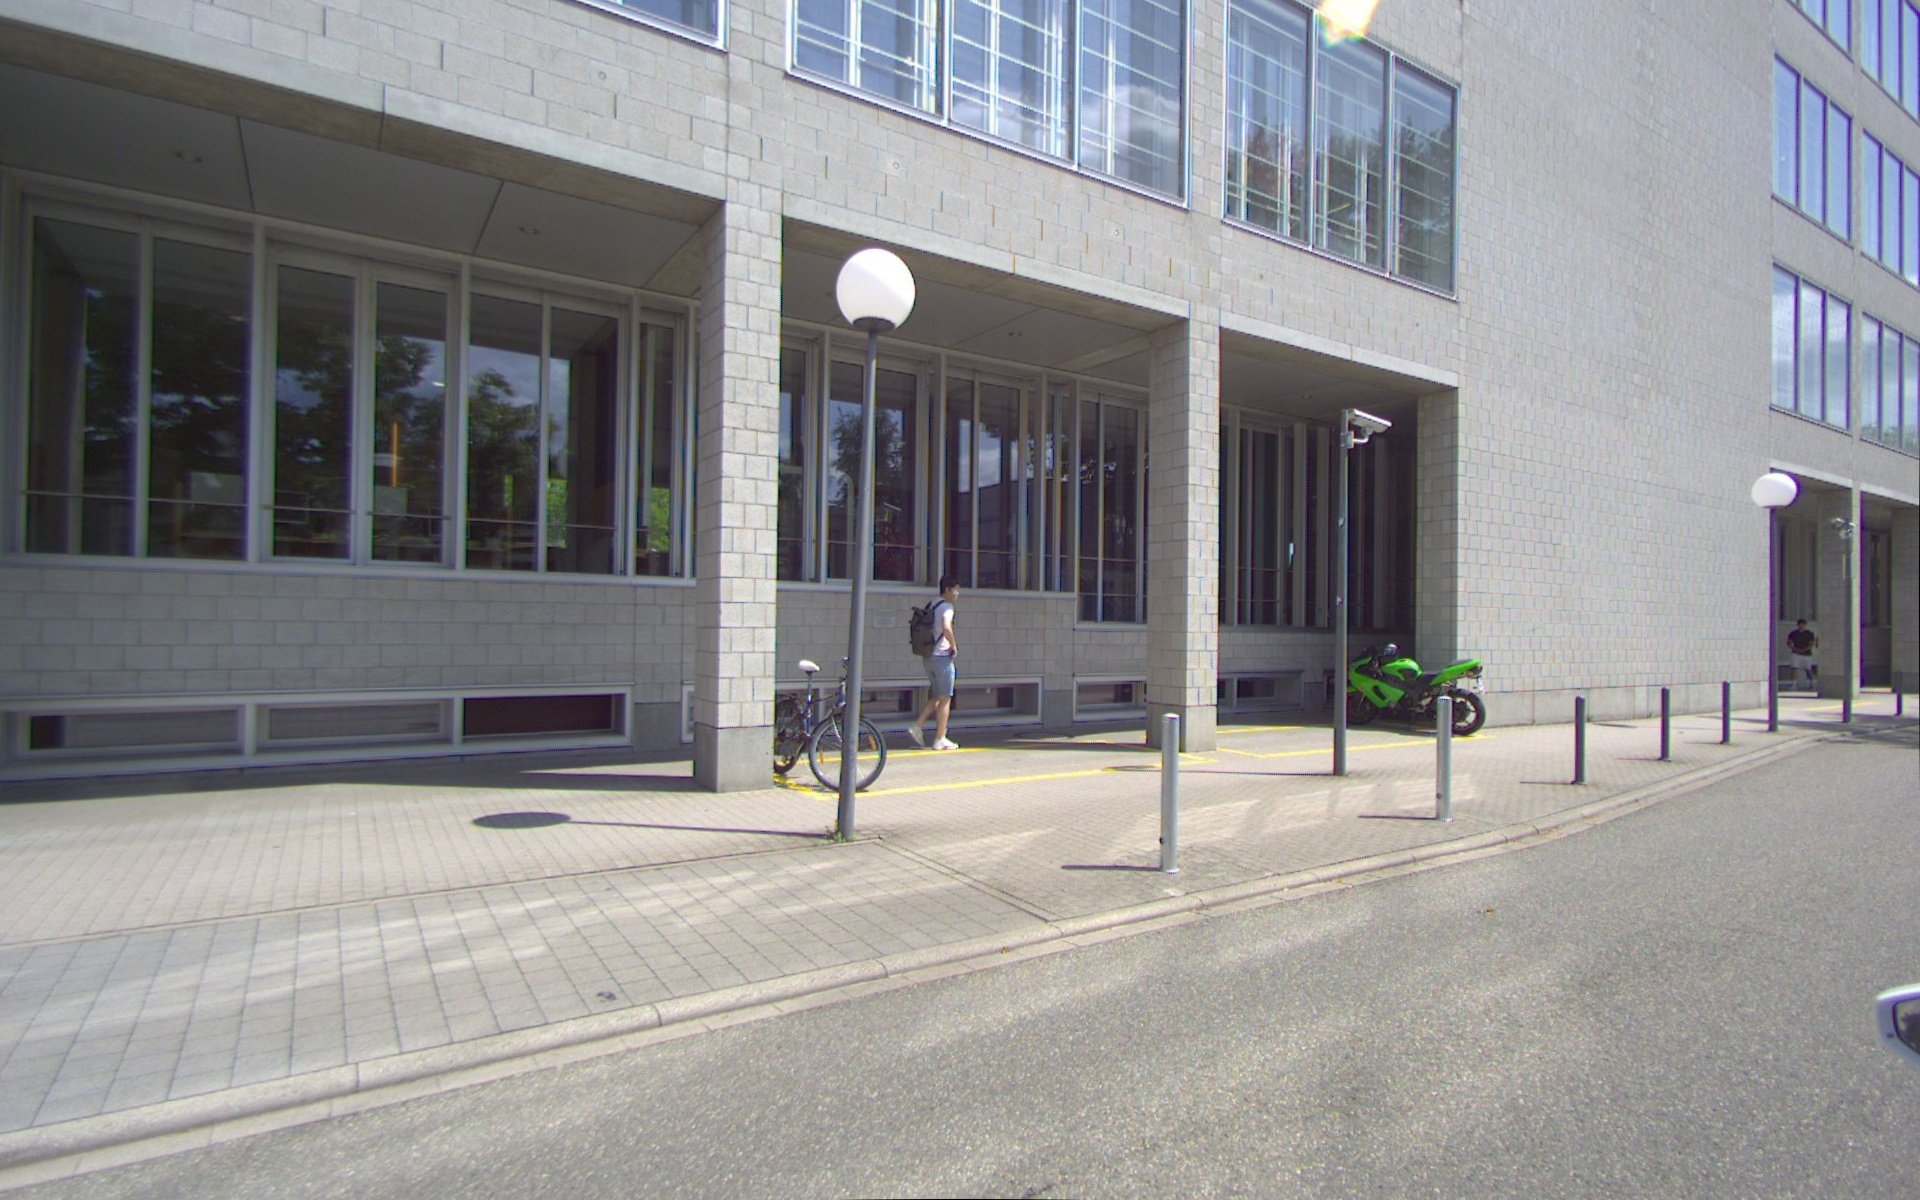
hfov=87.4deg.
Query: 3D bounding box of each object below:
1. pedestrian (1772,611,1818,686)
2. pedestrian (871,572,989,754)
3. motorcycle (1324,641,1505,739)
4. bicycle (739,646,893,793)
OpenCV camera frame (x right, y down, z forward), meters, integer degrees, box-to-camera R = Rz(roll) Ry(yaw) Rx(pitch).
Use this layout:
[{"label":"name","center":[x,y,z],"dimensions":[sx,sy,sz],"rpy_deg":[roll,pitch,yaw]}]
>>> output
[{"label":"pedestrian","center":[21.971,1.267,26.438],"dimensions":[0.712,1.905,0.727],"rpy_deg":[1,0,-33]},{"label":"pedestrian","center":[-0.327,0.660,10.891],"dimensions":[1.003,1.863,0.772],"rpy_deg":[1,-1,-34]},{"label":"motorcycle","center":[6.246,1.195,13.911],"dimensions":[0.769,1.153,2.145],"rpy_deg":[2,0,-43]},{"label":"bicycle","center":[-1.306,0.995,8.879],"dimensions":[0.603,1.101,1.626],"rpy_deg":[2,0,-38]}]
